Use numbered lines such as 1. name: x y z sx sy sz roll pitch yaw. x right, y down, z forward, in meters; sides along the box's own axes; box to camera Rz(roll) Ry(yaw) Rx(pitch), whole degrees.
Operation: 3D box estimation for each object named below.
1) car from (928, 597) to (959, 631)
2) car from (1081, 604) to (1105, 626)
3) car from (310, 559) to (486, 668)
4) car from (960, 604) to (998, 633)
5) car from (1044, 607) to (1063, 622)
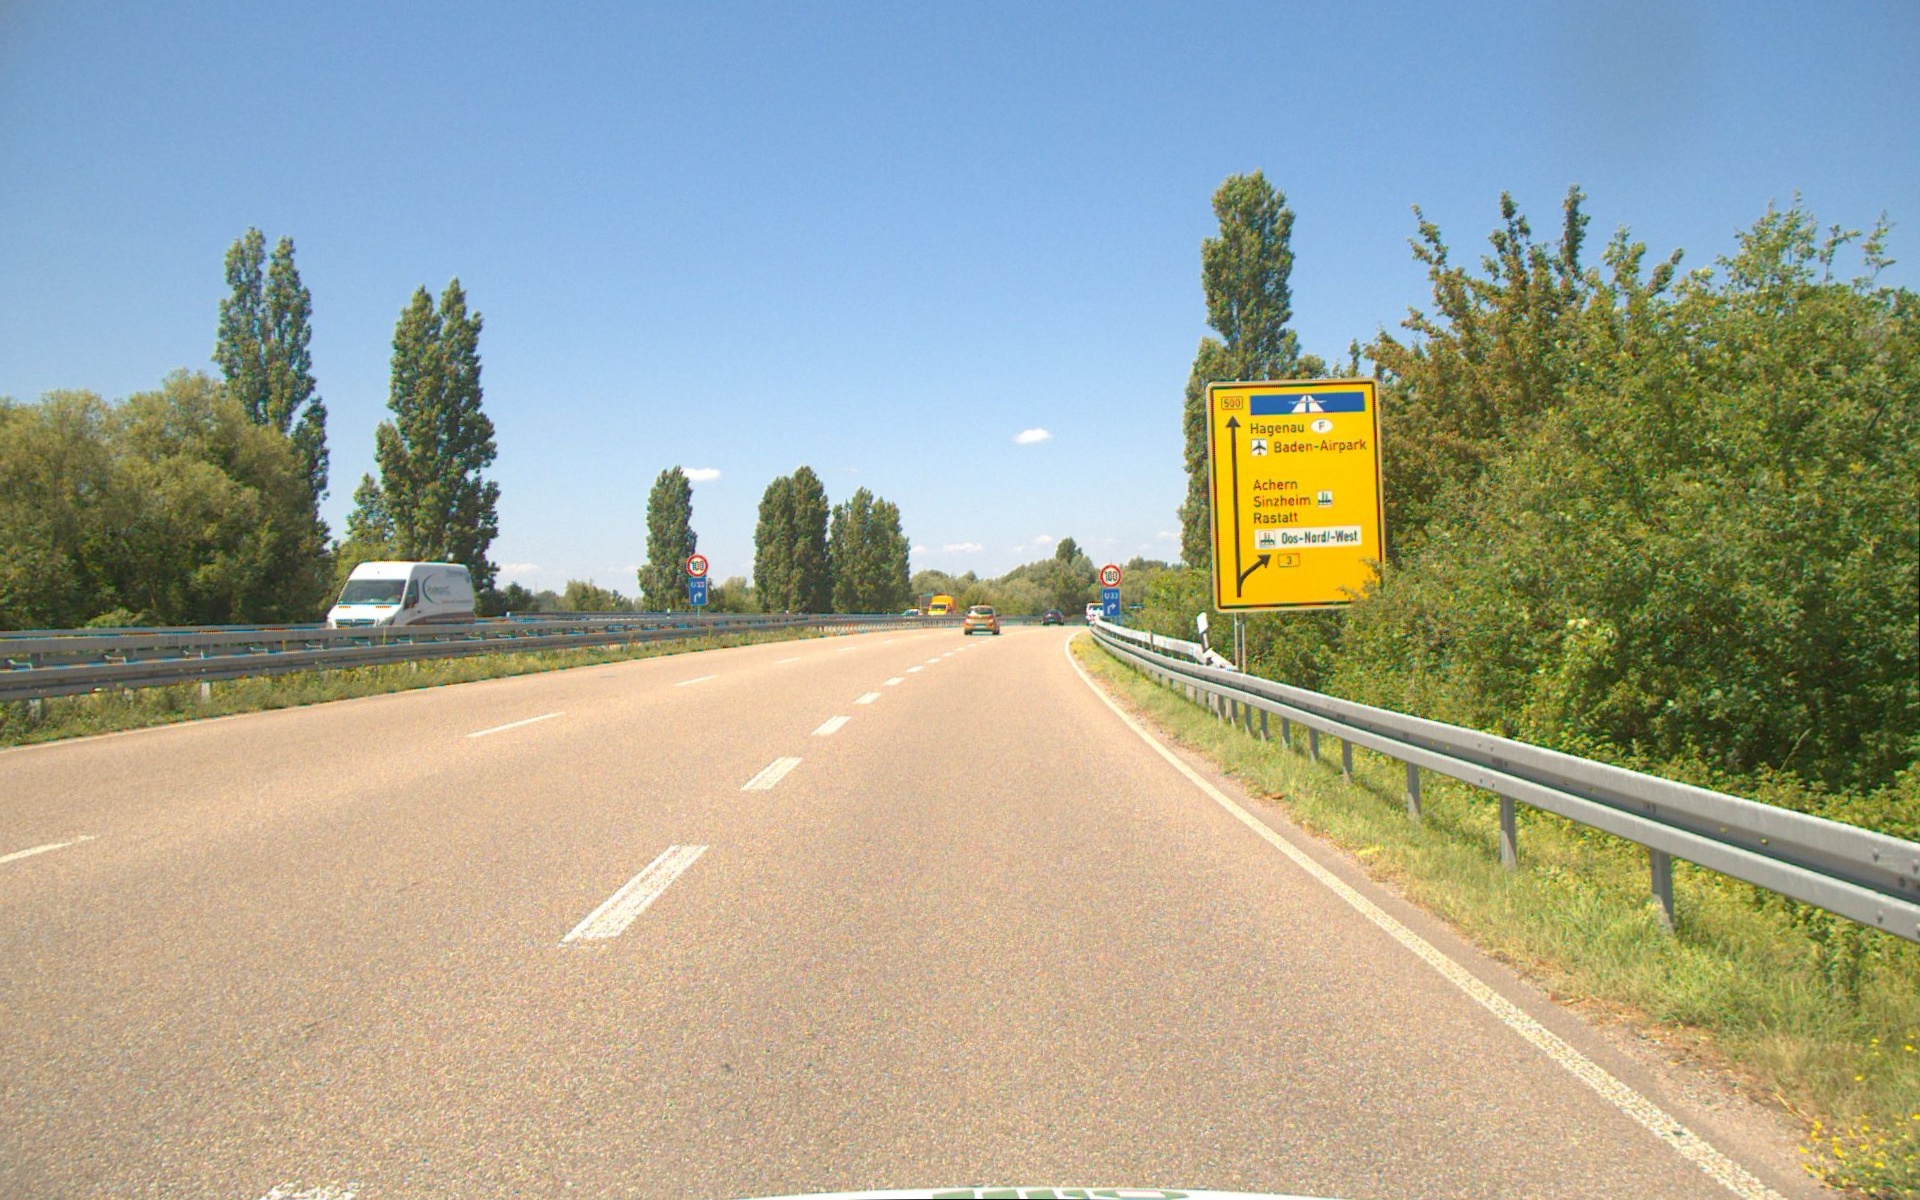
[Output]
1. car: -1.638 1.438 168.089 2.256 3.349 7.033 -1 -1 6
2. car: 11.890 1.294 147.795 1.802 1.928 4.003 0 0 10
3. car: -15.792 0.439 47.035 2.231 2.822 7.223 -1 -1 3
4. car: 1.019 0.937 86.090 1.803 1.489 4.001 0 0 3
5. car: 9.834 1.528 174.441 1.903 1.489 4.002 0 0 4
